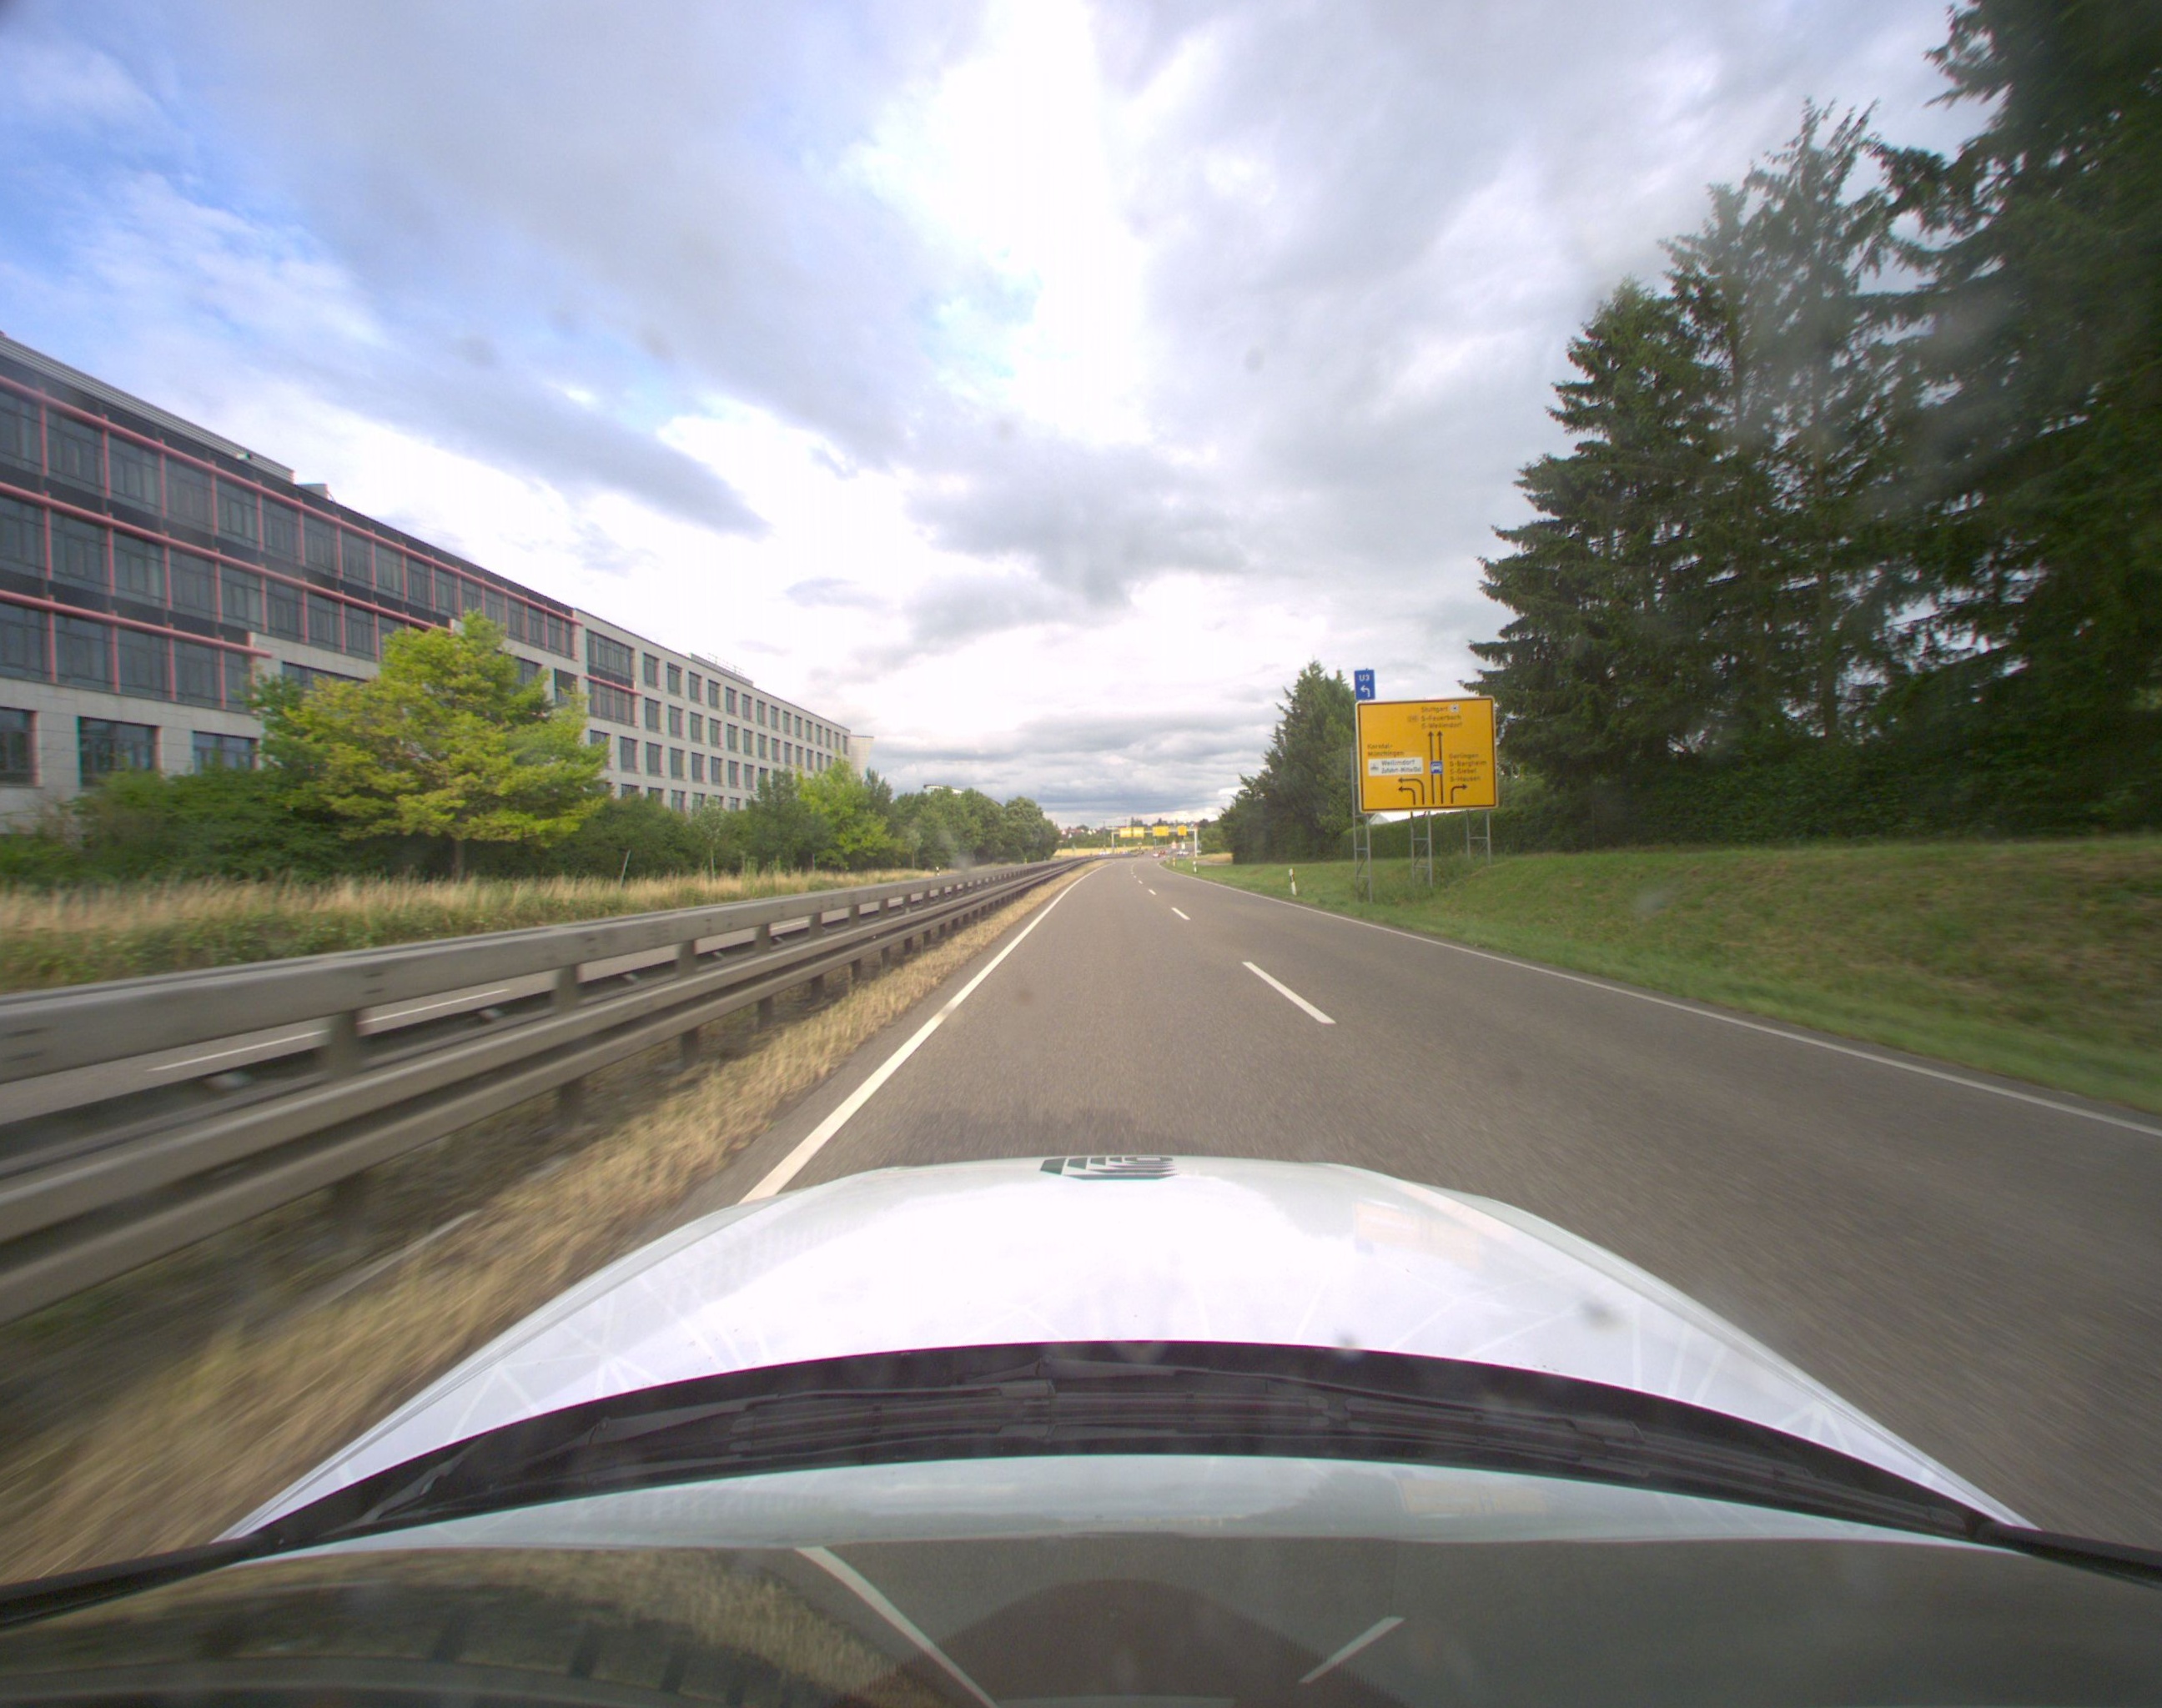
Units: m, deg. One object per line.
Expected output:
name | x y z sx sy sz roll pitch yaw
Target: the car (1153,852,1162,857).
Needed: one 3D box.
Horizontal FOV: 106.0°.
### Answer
car | 22.596 0.195 240.384 1.784 1.556 4.017 -1 0 16
